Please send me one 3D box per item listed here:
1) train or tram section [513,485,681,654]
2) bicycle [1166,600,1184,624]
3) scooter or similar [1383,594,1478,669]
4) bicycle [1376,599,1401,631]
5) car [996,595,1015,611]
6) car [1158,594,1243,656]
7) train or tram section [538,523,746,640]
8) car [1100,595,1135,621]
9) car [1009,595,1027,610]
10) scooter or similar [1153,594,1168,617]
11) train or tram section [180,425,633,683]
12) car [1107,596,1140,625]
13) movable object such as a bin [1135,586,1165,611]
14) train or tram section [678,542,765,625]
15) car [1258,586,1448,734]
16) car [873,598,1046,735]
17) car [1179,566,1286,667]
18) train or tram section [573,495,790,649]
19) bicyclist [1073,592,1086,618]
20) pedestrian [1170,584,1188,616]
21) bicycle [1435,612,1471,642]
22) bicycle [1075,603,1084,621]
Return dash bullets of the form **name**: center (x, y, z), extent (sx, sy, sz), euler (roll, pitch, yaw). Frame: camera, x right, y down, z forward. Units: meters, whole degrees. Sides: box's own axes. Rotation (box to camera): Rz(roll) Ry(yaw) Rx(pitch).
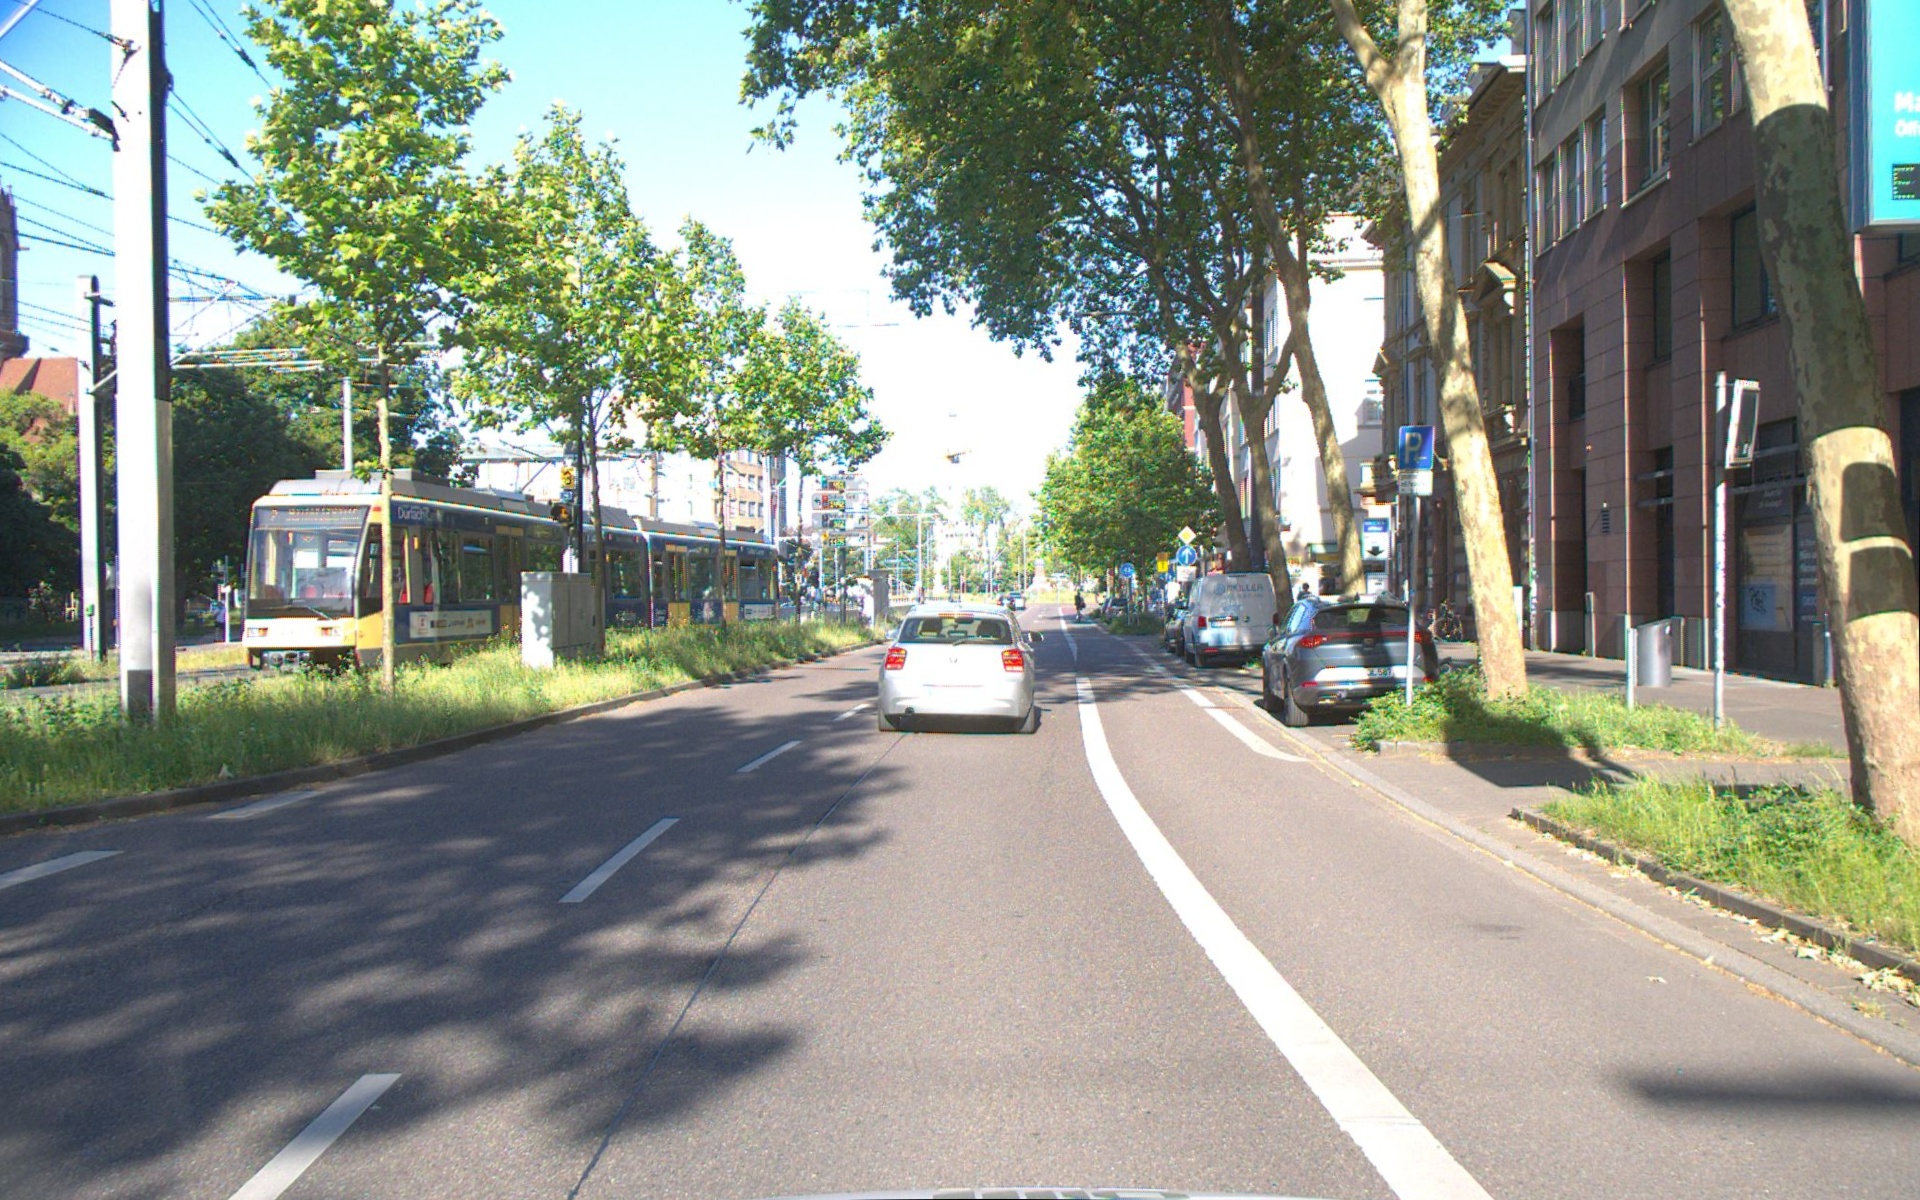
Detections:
- **train or tram section**: center (-8.981, -0.738, 41.318), extent (2.892, 3.965, 3.869), euler (1, 0, 7)
- **bicycle**: center (11.394, 0.620, 87.715), extent (0.378, 1.228, 1.872), euler (-1, 0, 25)
- **scooter or similar**: center (8.051, 0.531, 28.332), extent (1.508, 1.259, 0.449), euler (-1, 0, 4)
- **bicycle**: center (13.642, 0.469, 52.664), extent (0.406, 1.015, 1.883), euler (0, 0, 3)
- **car**: center (4.150, 0.272, 151.805), extent (1.691, 1.496, 4.411), euler (0, 0, 1)
- **car**: center (6.460, 0.642, 44.841), extent (1.780, 1.541, 4.709), euler (1, 0, 2)
- **train or tram section**: center (-11.120, -0.638, 61.229), extent (2.902, 3.544, 21.223), euler (1, 0, 2)
- **car**: center (9.832, 0.479, 103.239), extent (1.996, 1.535, 4.596), euler (0, 0, 3)
- **car**: center (5.658, 0.268, 159.898), extent (1.610, 1.446, 4.002), euler (1, 0, 3)
- **scooter or similar**: center (10.797, 0.309, 88.988), extent (0.371, 1.217, 1.574), euler (-1, 0, 23)
- **train or tram section**: center (-9.856, -0.701, 32.308), extent (2.867, 3.878, 14.281), euler (1, 0, 5)
- **car**: center (9.428, 0.567, 95.518), extent (1.659, 1.528, 3.803), euler (-3, 0, 3)
- **movable object such as a bin**: center (15.167, -0.120, 132.207), extent (1.906, 1.875, 3.479), euler (-1, 1, -2)
- **train or tram section**: center (-10.735, -0.738, 74.989), extent (2.895, 3.544, 6.061), euler (1, 0, 1)
- **car**: center (4.735, 0.667, 20.465), extent (1.633, 1.598, 4.282), euler (1, 0, 5)
- **car**: center (0.094, 0.704, 19.517), extent (1.760, 1.439, 4.002), euler (-1, 0, 4)
- **car**: center (5.981, 0.342, 36.794), extent (1.817, 2.049, 4.726), euler (1, 0, 3)
- **train or tram section**: center (-7.836, -0.716, 48.568), extent (2.890, 3.965, 10.811), euler (1, 0, 9)
- **bicyclist**: center (7.245, 0.313, 100.316), extent (0.768, 1.558, 0.895), euler (1, 0, 3)
- **pedestrian**: center (12.131, -0.009, 91.659), extent (0.841, 1.734, 0.917), euler (0, 0, 1)
- **bicycle**: center (13.470, 0.736, 45.219), extent (0.537, 0.787, 1.663), euler (-2, 0, 3)
- **bicycle**: center (7.250, 0.720, 100.193), extent (0.489, 1.107, 1.998), euler (1, 0, 3)
